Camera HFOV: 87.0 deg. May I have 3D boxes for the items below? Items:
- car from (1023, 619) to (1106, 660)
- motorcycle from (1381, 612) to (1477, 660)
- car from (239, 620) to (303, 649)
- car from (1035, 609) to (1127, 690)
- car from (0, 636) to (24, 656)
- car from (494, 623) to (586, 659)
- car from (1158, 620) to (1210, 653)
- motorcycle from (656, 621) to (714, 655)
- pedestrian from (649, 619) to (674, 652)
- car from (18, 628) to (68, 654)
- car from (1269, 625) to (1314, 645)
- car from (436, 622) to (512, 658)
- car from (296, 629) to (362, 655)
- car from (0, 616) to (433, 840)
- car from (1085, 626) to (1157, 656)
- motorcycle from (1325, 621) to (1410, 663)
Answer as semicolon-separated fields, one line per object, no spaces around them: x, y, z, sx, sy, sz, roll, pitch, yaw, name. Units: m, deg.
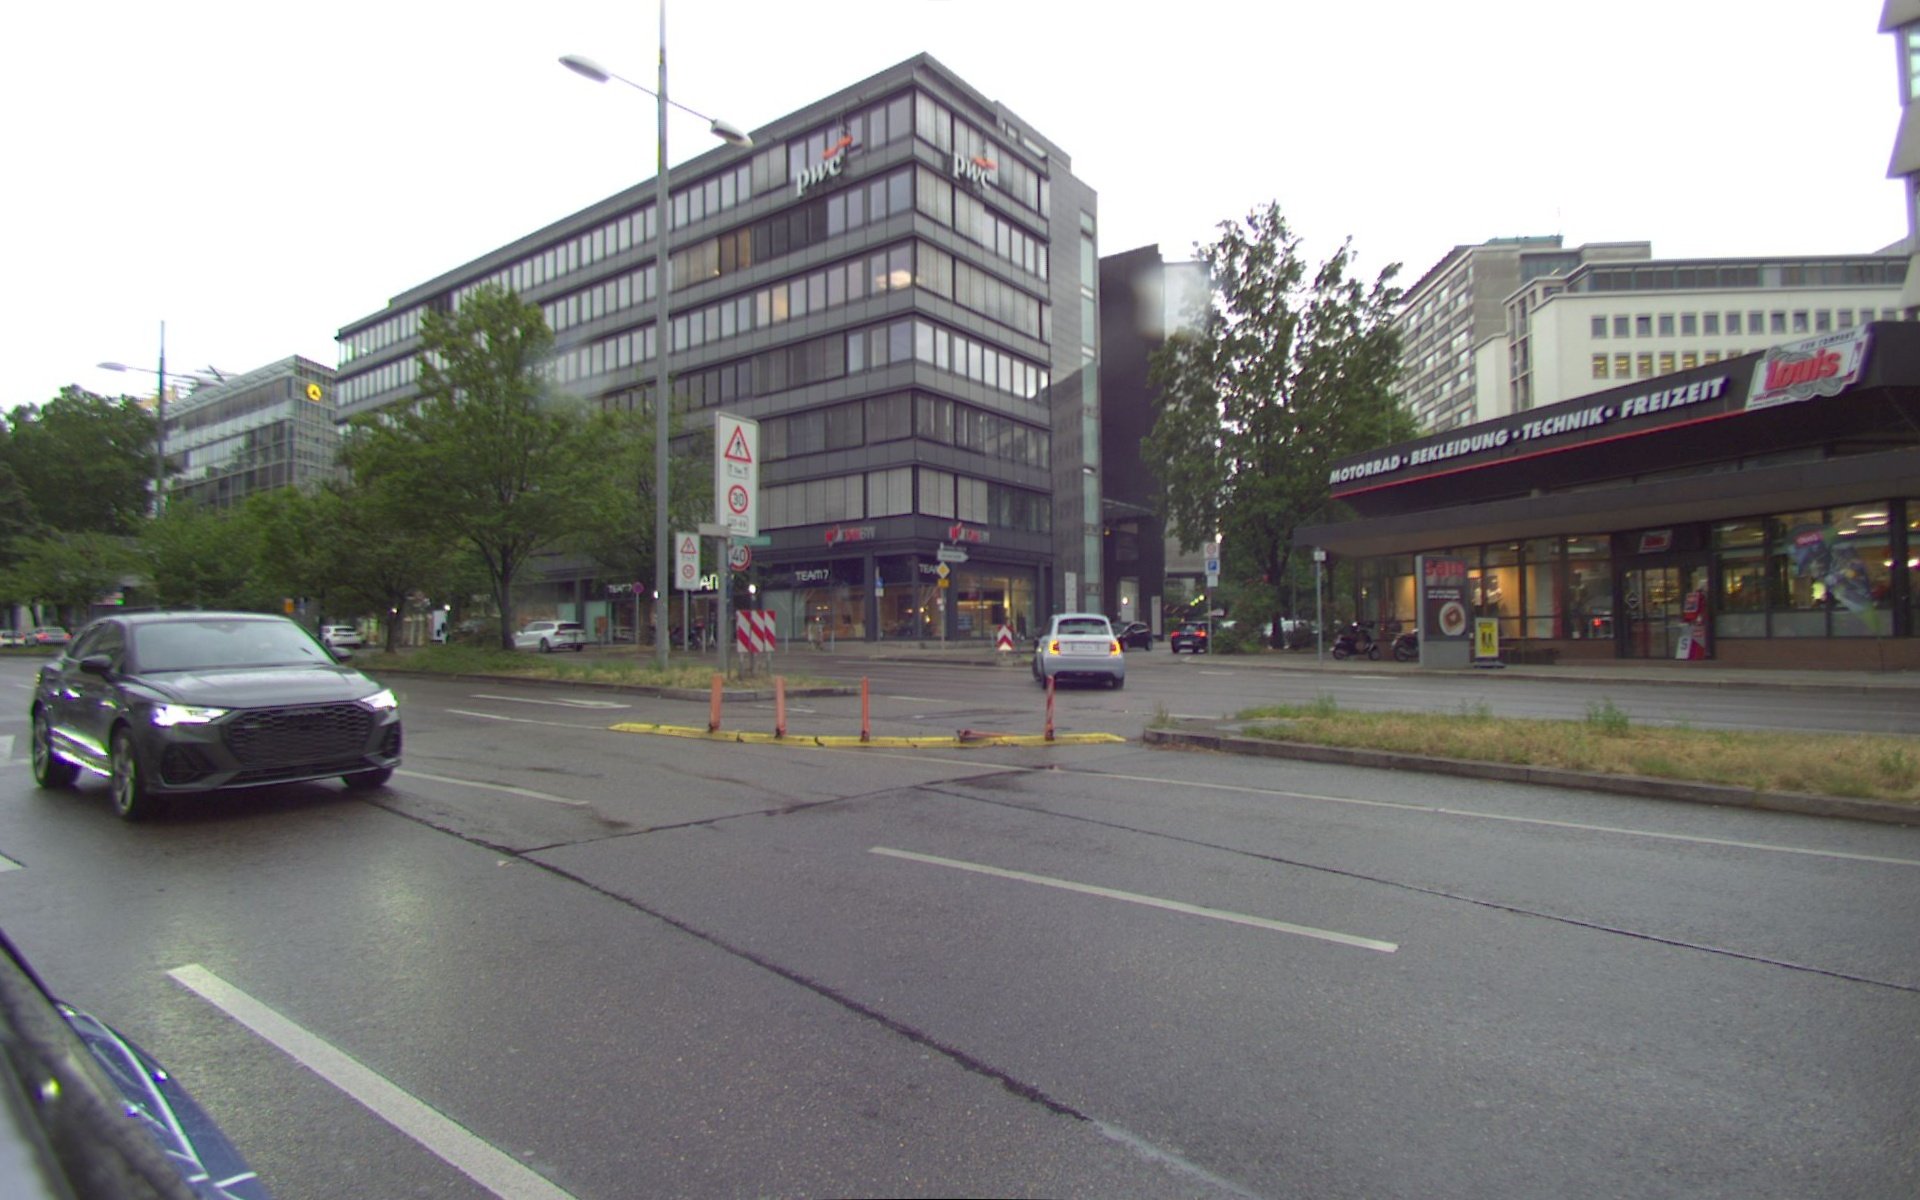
4.724;1.732;45.476;1.996;1.652;3.951;-1;-1;36;car
14.484;1.093;31.263;2.843;1.384;0.806;-1;-1;-16;motorcycle
-39.435;1.974;57.902;4.481;1.556;1.972;-2;-2;41;car
2.564;1.015;21.710;1.767;1.585;3.684;-1;-1;6;car
-73.831;3.560;78.045;4.074;1.442;1.668;-2;-1;35;car
-19.777;1.897;47.535;4.764;1.496;1.792;-2;2;37;car
10.286;1.673;46.775;1.822;1.462;4.680;0;-2;6;car
-12.183;1.675;44.859;2.344;1.404;0.857;-1;2;11;motorcycle
-15.059;1.790;51.018;0.964;1.650;0.776;-2;-2;37;pedestrian
-66.266;2.964;73.148;4.483;1.741;1.722;-2;-1;35;car
23.149;2.438;70.595;1.844;1.298;3.950;-1;-1;37;car
-24.639;2.013;51.277;4.304;1.673;1.791;-2;-1;39;car
-38.005;2.527;60.958;4.298;1.455;1.794;-2;-1;34;car
-6.468;0.891;8.644;4.282;1.446;1.918;-2;-2;38;car
7.843;1.961;49.088;1.844;1.298;3.950;-1;-1;37;car
13.771;1.394;34.192;2.773;1.343;0.725;-1;-1;-15;motorcycle
